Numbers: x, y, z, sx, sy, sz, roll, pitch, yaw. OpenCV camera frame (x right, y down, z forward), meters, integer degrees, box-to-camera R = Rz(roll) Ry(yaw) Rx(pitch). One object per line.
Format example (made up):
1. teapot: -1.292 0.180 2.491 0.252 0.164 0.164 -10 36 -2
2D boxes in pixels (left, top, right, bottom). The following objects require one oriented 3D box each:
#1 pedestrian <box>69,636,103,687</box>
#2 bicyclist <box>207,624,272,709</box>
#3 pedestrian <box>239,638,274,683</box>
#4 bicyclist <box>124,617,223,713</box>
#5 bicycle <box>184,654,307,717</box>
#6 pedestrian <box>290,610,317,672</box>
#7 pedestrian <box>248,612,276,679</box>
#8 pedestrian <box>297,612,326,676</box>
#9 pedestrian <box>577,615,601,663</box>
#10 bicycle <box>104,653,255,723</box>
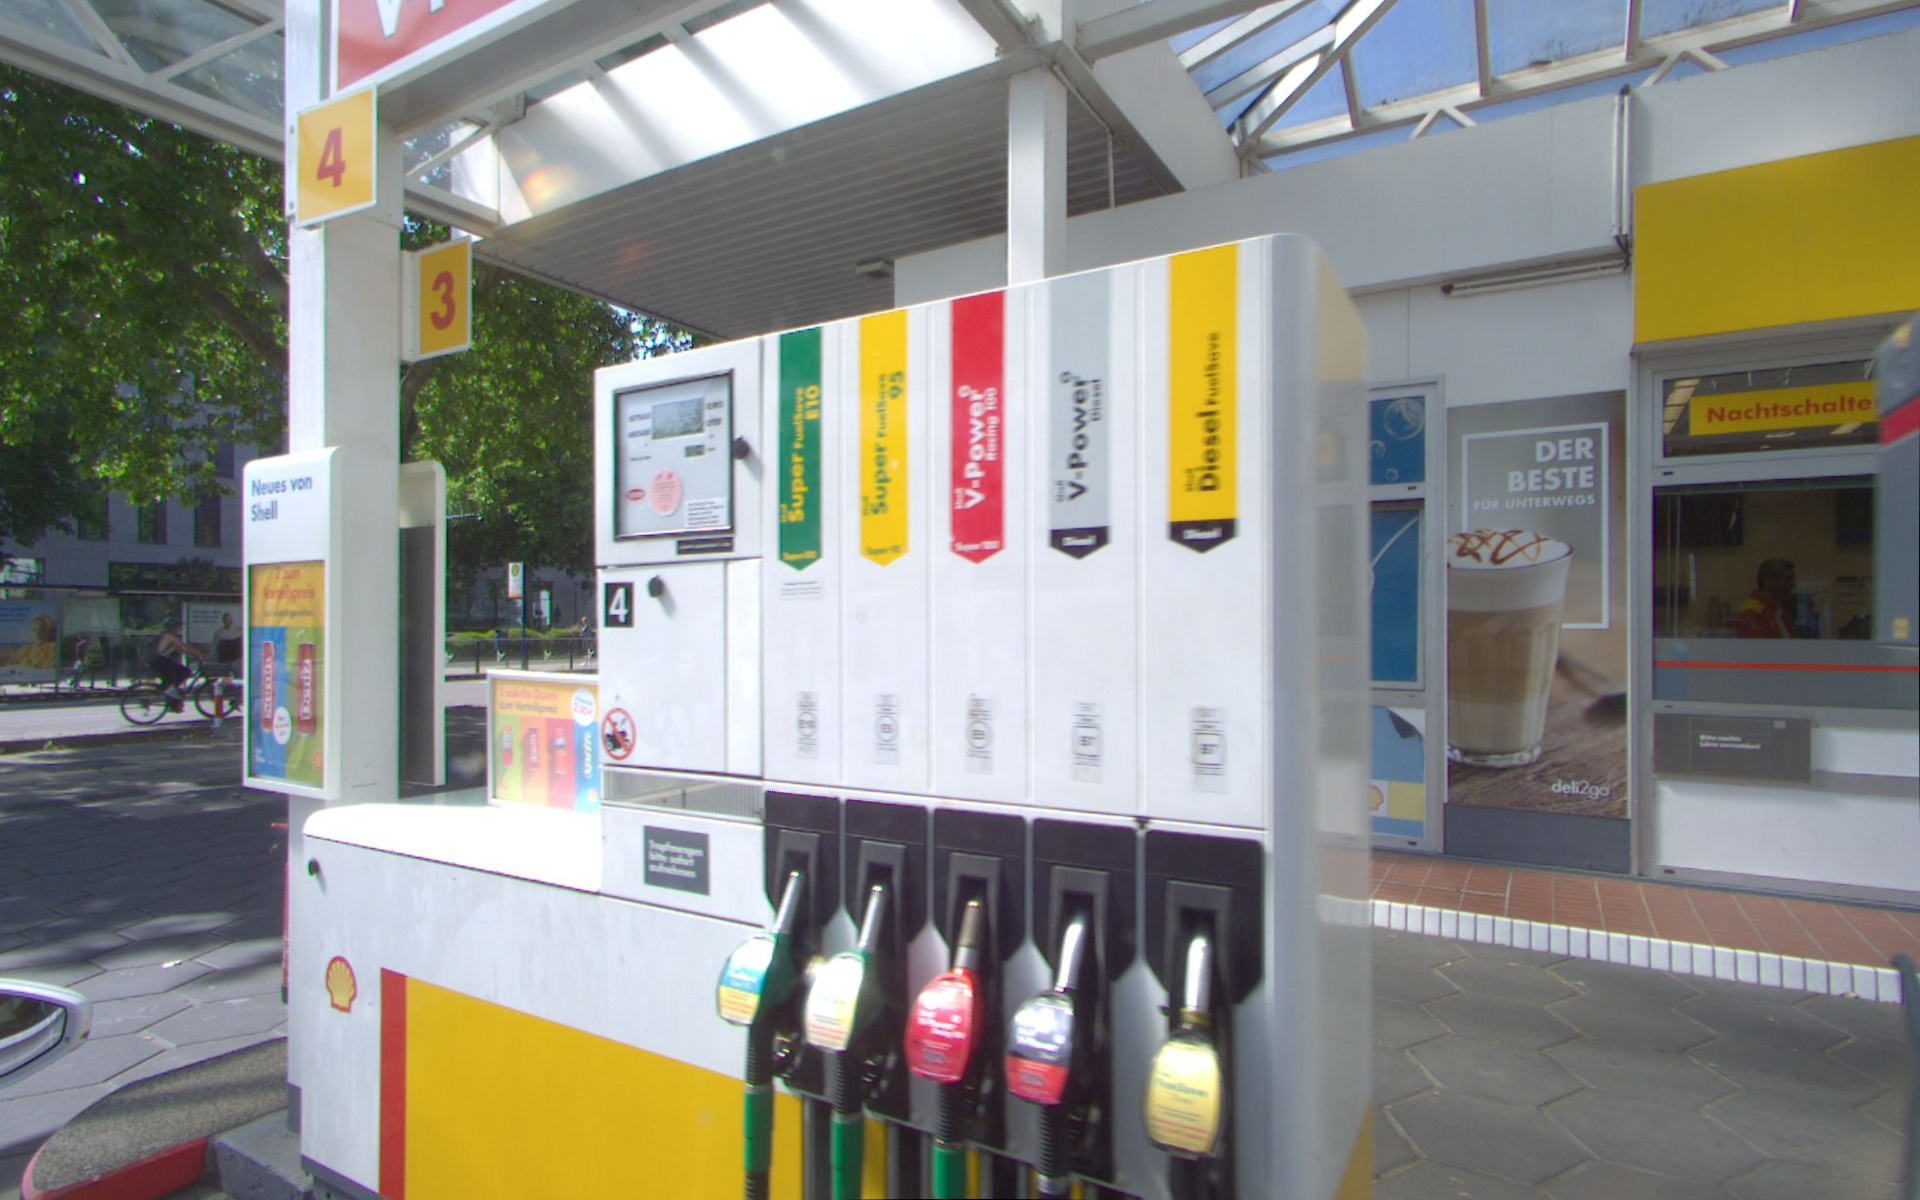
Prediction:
1. pedestrian: -20.506 1.433 23.498 0.517 1.152 0.497 0 -1 38
2. bicyclist: -13.612 1.240 18.929 0.527 1.563 0.862 -1 -1 29
3. pedestrian: -18.710 1.597 26.639 0.517 1.152 0.626 0 -1 38
4. bicyclist: -13.568 1.094 17.301 0.629 1.600 1.170 0 -1 25
5. bicycle: -13.544 1.595 19.035 0.517 1.096 1.859 0 -1 30
6. pedestrian: -18.930 1.171 28.880 0.517 1.758 0.498 0 -1 34
7. pedestrian: -18.653 1.212 26.752 0.401 1.758 0.498 0 -1 34
8. pedestrian: -17.934 1.217 27.708 0.517 1.758 0.498 0 -1 34
9. pedestrian: -13.760 1.453 37.120 0.689 1.758 0.498 1 -1 -43
10. bicycle: -13.516 1.500 17.419 0.629 1.096 2.020 0 -2 24
